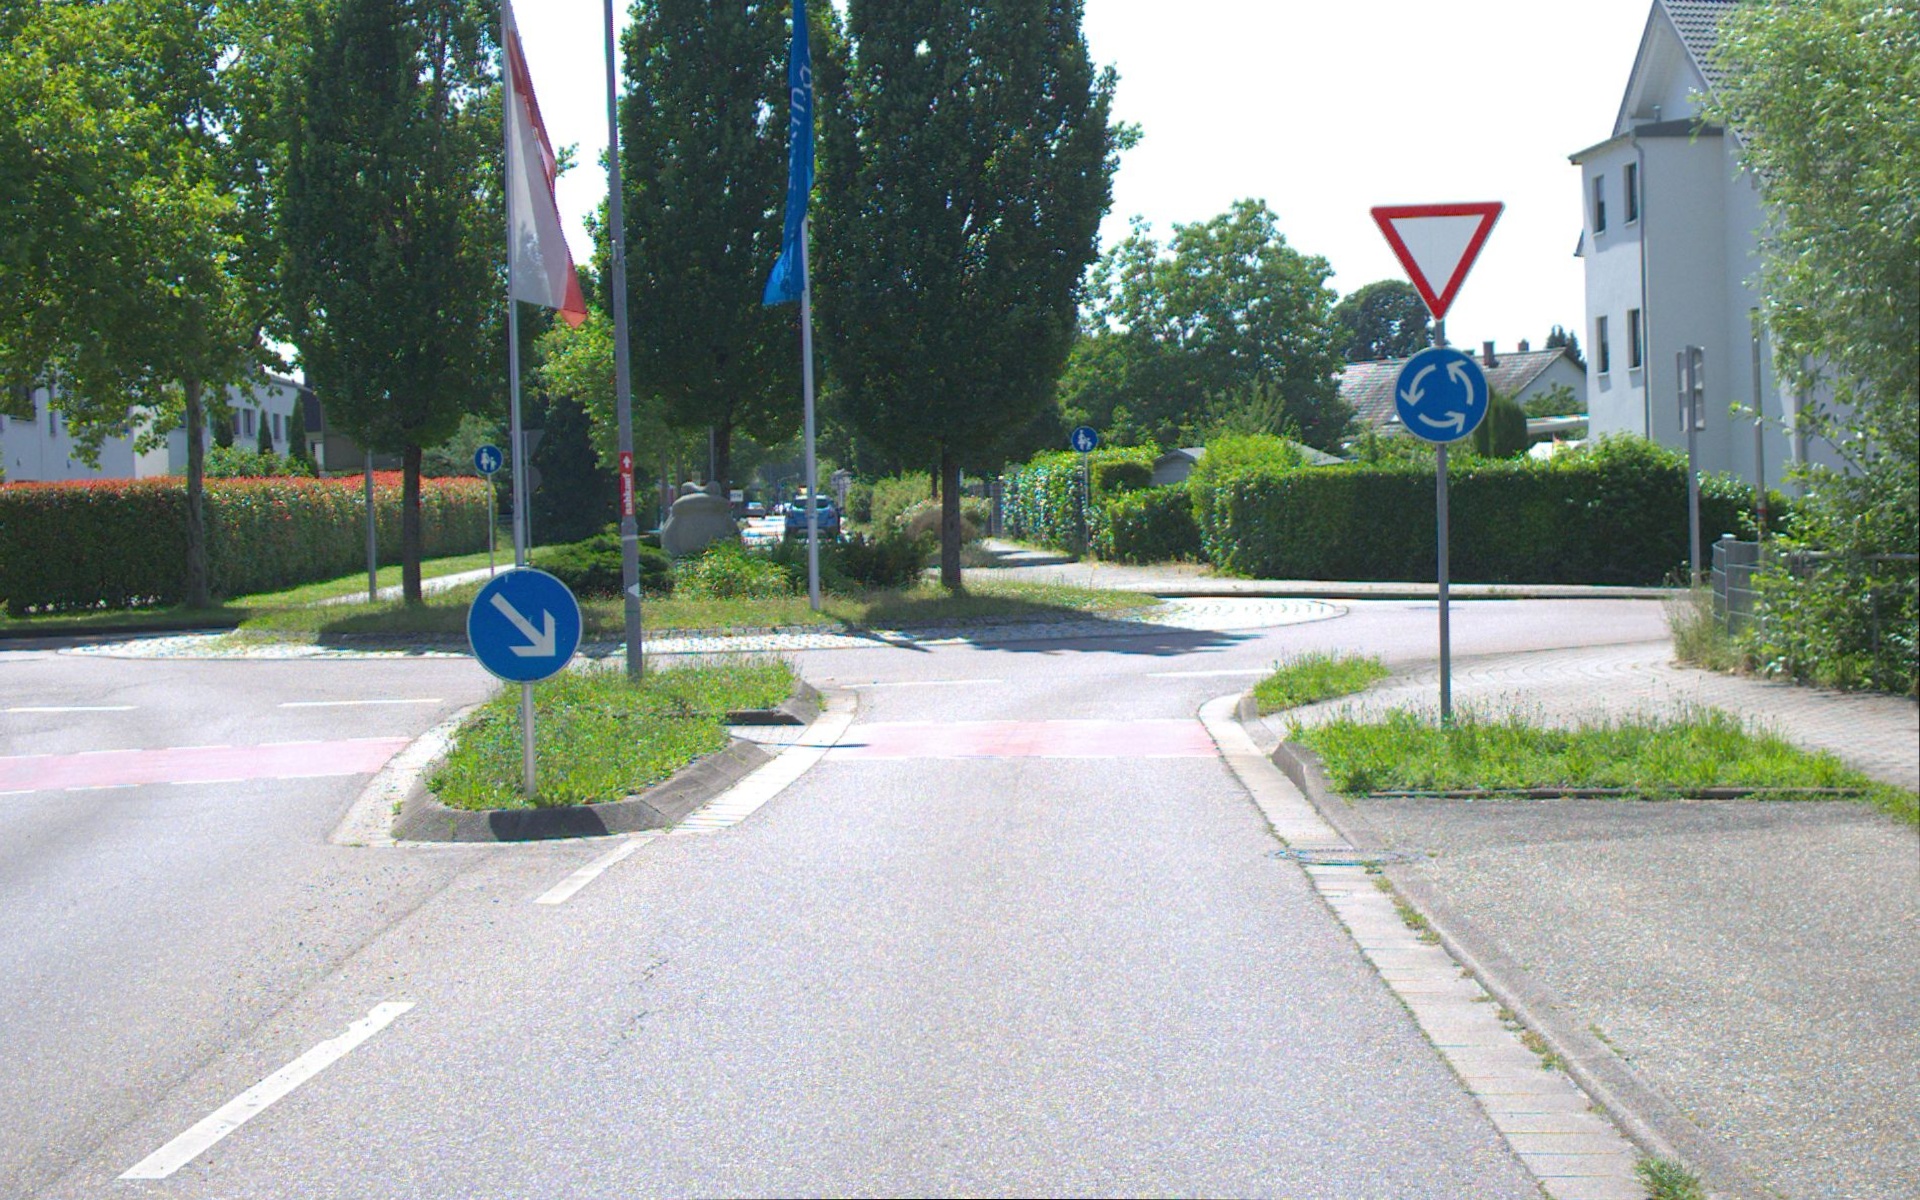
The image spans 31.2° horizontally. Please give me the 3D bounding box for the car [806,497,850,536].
[{"bbox_3d":[-6.072,-3.847,158.622,1.993,1.764,4.001,0,1,-2],"label":"car"}]

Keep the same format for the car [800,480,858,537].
[{"bbox_3d":[-4.422,-3.084,115.705,1.923,1.879,4.001,0,1,-3],"label":"car"}]
